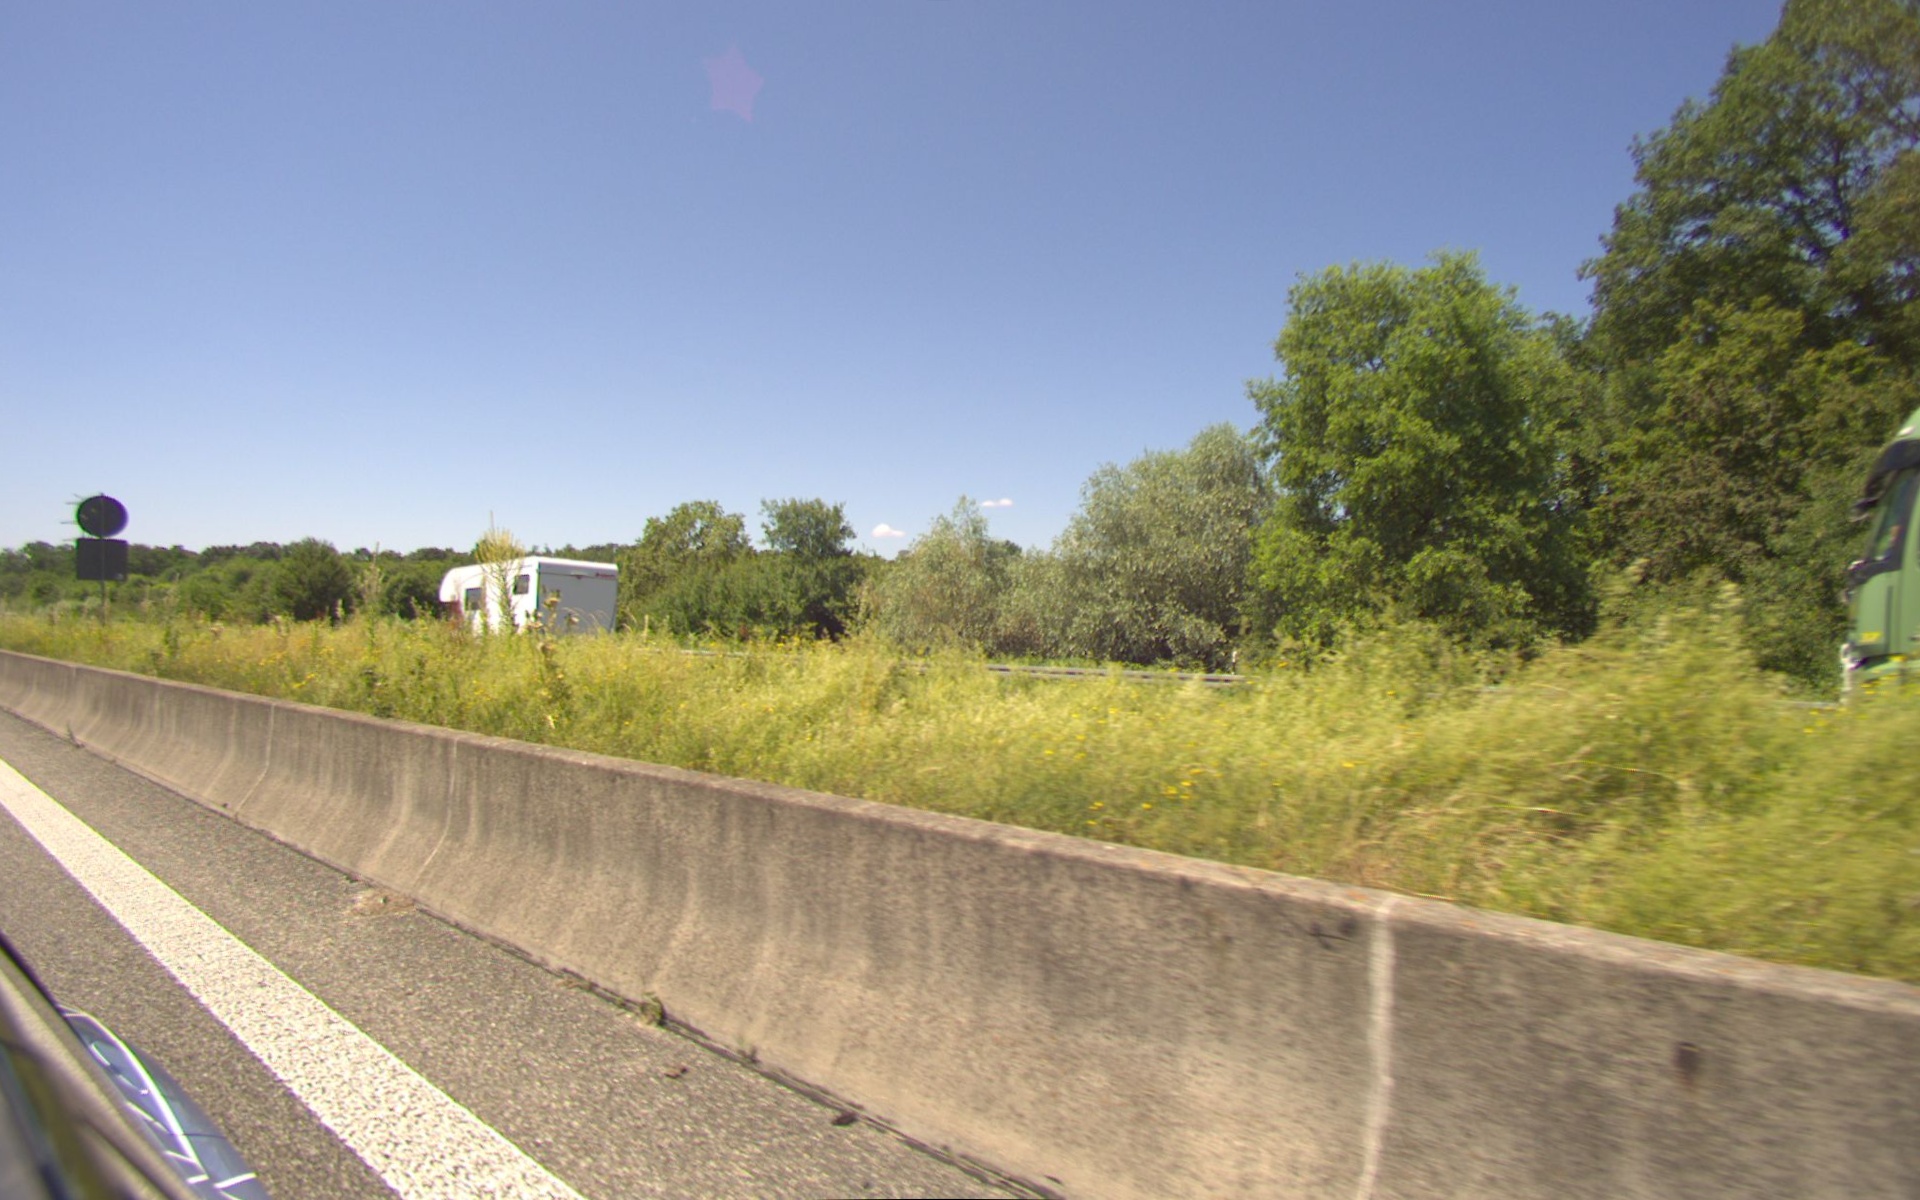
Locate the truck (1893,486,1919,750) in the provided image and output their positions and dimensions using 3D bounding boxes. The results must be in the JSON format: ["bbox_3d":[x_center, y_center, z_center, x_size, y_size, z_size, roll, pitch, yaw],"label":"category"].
[{"bbox_3d":[15.562,0.156,9.029,10.481,2.964,2.659,-1,-2,41],"label":"truck"}]

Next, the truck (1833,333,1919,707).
[{"bbox_3d":[10.874,-0.666,7.204,6.967,3.031,2.580,-1,-2,41],"label":"truck"}]

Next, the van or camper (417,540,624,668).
[{"bbox_3d":[-12.595,0.156,28.650,7.531,3.179,2.481,-1,-1,42],"label":"van or camper"}]
